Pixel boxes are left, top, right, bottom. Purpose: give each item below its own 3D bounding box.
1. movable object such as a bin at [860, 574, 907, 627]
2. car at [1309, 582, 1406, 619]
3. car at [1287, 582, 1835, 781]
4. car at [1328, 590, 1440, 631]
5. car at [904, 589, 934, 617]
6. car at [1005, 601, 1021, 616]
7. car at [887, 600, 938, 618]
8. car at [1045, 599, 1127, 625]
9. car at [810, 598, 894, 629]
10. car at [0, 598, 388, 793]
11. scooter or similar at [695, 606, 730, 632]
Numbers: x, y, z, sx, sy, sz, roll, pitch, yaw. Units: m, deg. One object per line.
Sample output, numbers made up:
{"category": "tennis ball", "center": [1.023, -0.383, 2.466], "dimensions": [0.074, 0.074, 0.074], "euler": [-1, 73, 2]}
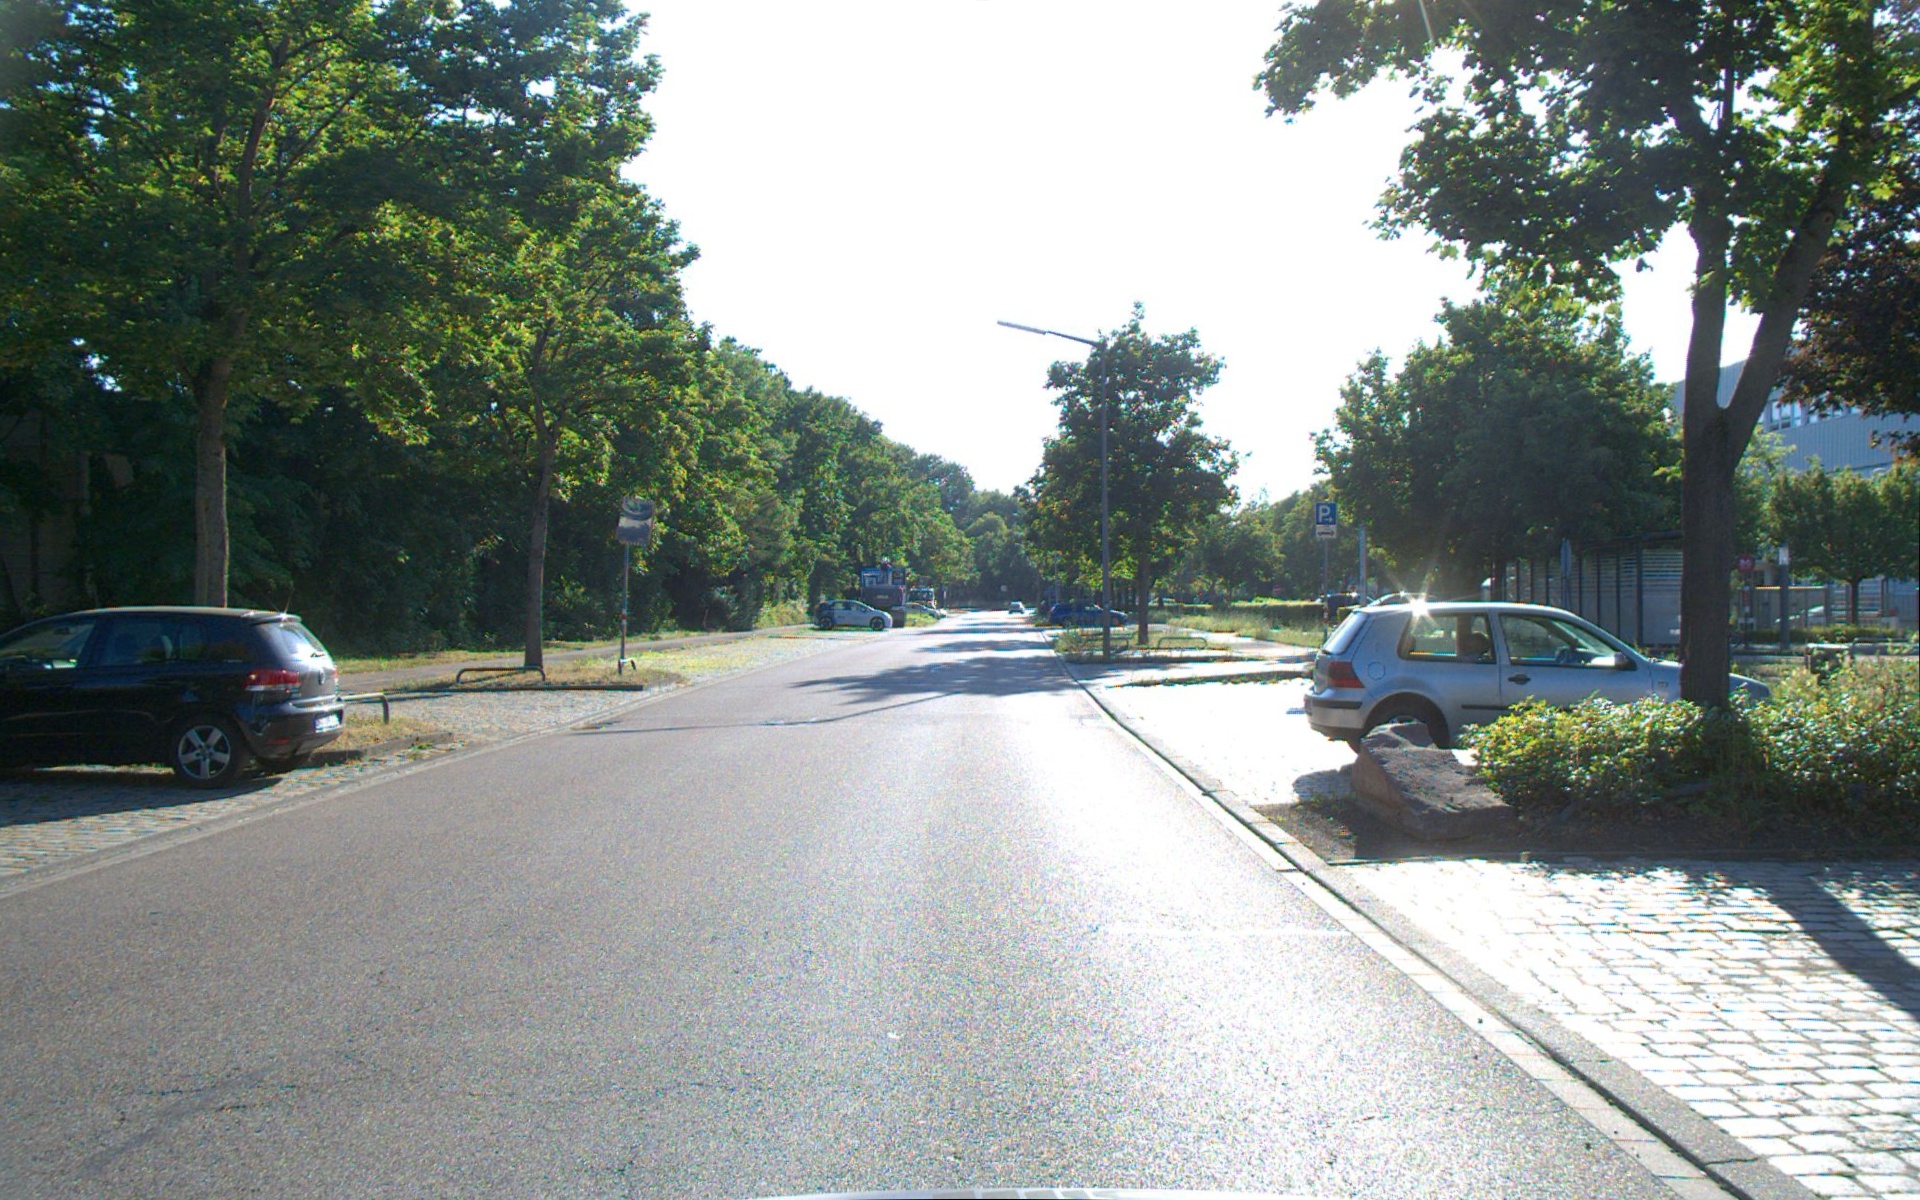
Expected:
{"category": "movable object such as a bin", "center": [-4.626, 0.058, 100.772], "dimensions": [2.781, 3.122, 4.924], "euler": [0, 0, -2]}
{"category": "car", "center": [19.068, 0.026, 79.441], "dimensions": [4.267, 1.735, 2.001], "euler": [0, 0, 3]}
{"category": "car", "center": [5.181, 0.705, 14.865], "dimensions": [4.265, 1.505, 2.002], "euler": [-3, -1, 9]}
{"category": "car", "center": [18.387, 0.459, 71.862], "dimensions": [4.338, 1.735, 2.059], "euler": [-1, 0, 0]}
{"category": "car", "center": [-3.796, 0.264, 150.590], "dimensions": [2.467, 2.428, 4.368], "euler": [-1, 0, -5]}
{"category": "car", "center": [6.803, 1.073, 212.742], "dimensions": [1.953, 1.937, 4.000], "euler": [-1, 0, 0]}
{"category": "car", "center": [-4.052, 0.745, 141.021], "dimensions": [4.273, 1.505, 1.998], "euler": [-1, 0, -5]}
{"category": "car", "center": [7.355, 0.693, 97.107], "dimensions": [4.740, 1.505, 2.001], "euler": [-1, 0, 2]}
{"category": "car", "center": [-5.734, 0.708, 88.121], "dimensions": [4.267, 1.574, 2.001], "euler": [-1, 0, 3]}
{"category": "car", "center": [-7.543, 0.775, 14.579], "dimensions": [4.270, 1.505, 2.000], "euler": [2, 0, -1]}
{"category": "scooter or similar", "center": [-10.979, 0.844, 73.447], "dimensions": [0.567, 1.165, 1.575], "euler": [-1, -1, 41]}
